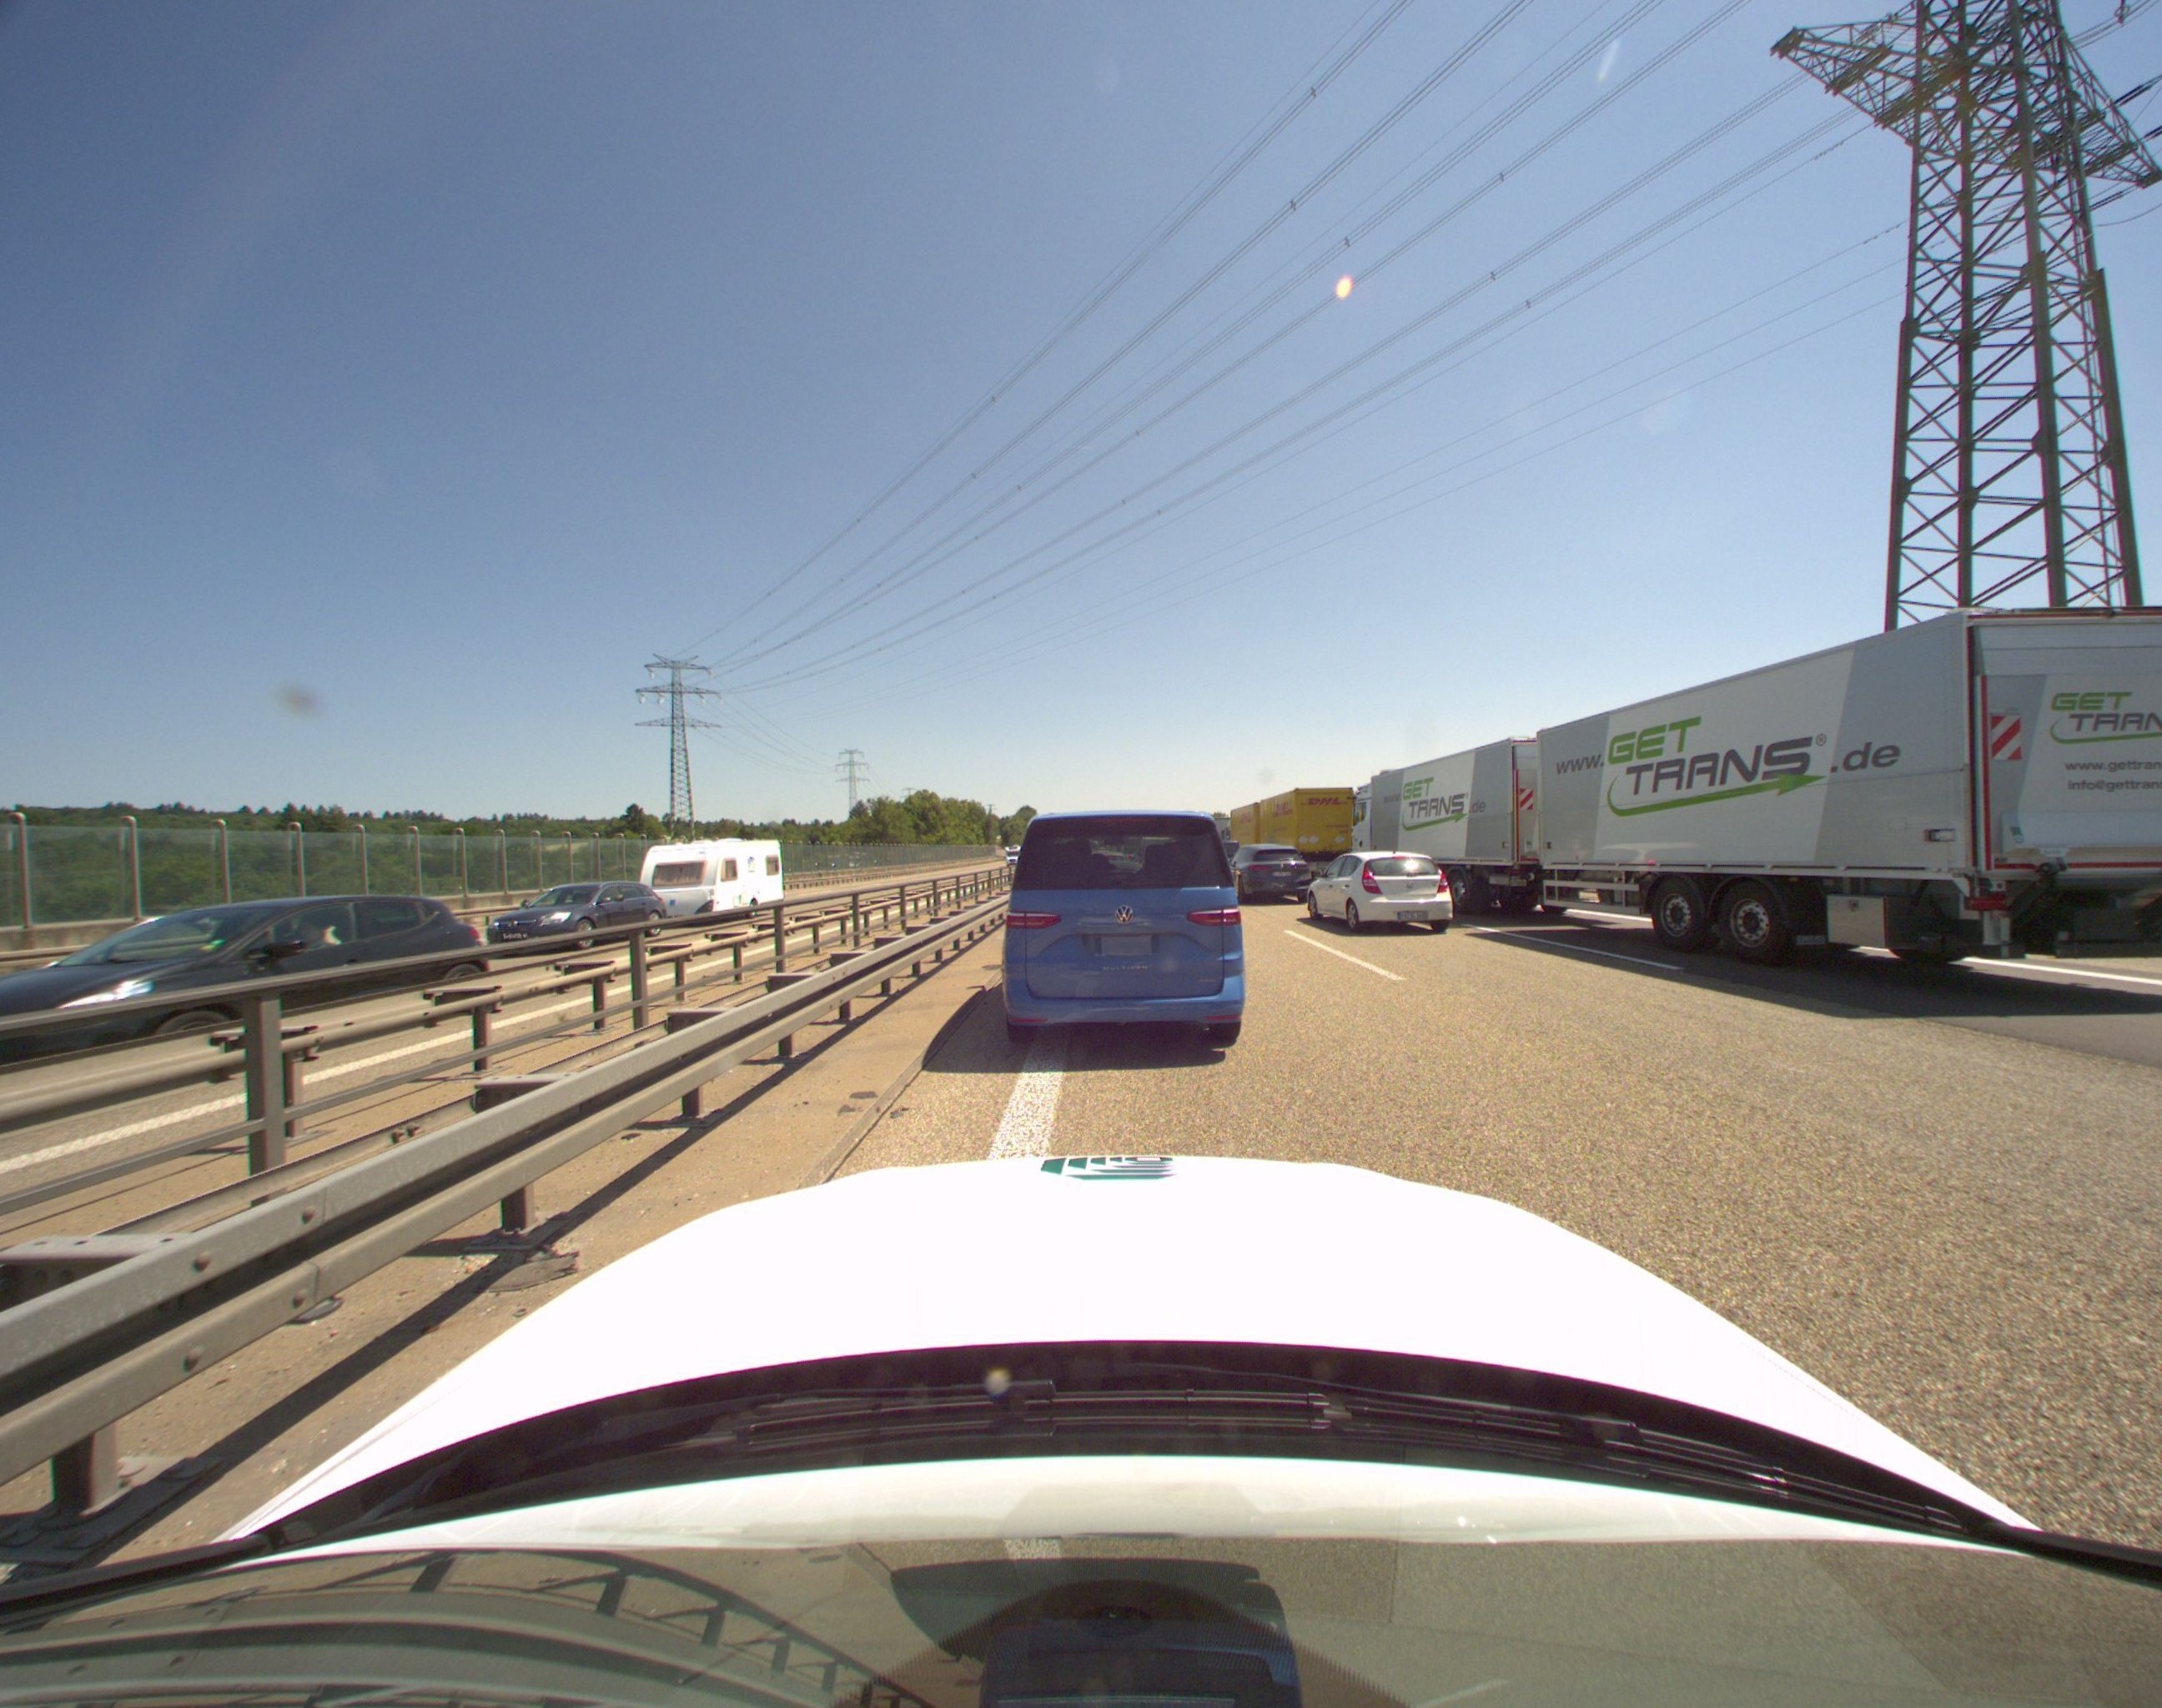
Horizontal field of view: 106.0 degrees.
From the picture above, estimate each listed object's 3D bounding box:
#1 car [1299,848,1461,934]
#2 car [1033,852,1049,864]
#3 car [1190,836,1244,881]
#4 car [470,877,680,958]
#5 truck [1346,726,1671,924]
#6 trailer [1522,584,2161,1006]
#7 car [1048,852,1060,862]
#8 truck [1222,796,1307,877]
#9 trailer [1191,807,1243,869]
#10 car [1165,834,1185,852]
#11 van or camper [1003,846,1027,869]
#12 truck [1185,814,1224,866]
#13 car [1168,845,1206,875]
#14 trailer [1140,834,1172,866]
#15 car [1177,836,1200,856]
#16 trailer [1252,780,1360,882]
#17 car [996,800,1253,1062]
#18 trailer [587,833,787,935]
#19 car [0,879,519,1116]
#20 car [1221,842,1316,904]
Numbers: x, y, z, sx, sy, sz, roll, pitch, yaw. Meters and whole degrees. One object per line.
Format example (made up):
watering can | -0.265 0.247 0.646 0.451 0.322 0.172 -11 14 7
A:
car | 5.798 0.647 16.389 1.782 1.455 4.295 -1 0 2
car | -5.772 0.626 117.880 1.860 1.531 4.426 -5 0 2
car | 6.484 0.197 39.161 1.955 1.993 4.295 -1 0 2
car | -11.496 1.363 18.978 1.769 1.407 4.684 -4 0 2
truck | 9.783 -0.559 20.737 2.647 3.648 11.013 -1 0 1
trailer | 9.532 -0.552 11.212 2.688 3.700 8.017 -1 0 1
car | -5.234 0.565 158.177 1.860 1.699 4.431 -4 1 1
truck | 10.674 -0.913 48.689 2.826 4.243 11.013 -1 0 1
trailer | 10.760 -1.188 65.557 2.627 4.516 11.305 0 0 2
car | 11.492 -1.323 99.888 1.986 2.013 4.463 -2 0 2
van or camper | -9.406 0.479 117.006 2.413 3.023 7.030 -3 0 2
truck | 10.995 -1.173 73.058 2.657 4.484 6.852 0 0 2
car | 6.679 0.352 51.849 1.986 1.816 4.002 -1 0 2
trailer | 7.303 -0.356 80.757 2.559 2.990 10.668 0 0 2
car | 10.829 -0.769 82.245 1.986 2.014 4.002 0 0 2
trailer | 10.387 -0.942 38.661 2.854 4.239 9.015 0 0 2
car | 0.376 0.555 7.841 1.813 1.857 4.076 0 0 2
trailer | -11.576 0.785 24.776 2.484 2.549 6.777 -3 0 2
car | -7.611 1.095 7.629 1.662 1.448 4.003 -5 0 3
car | 5.521 0.517 24.490 1.955 1.644 4.295 -1 0 2
